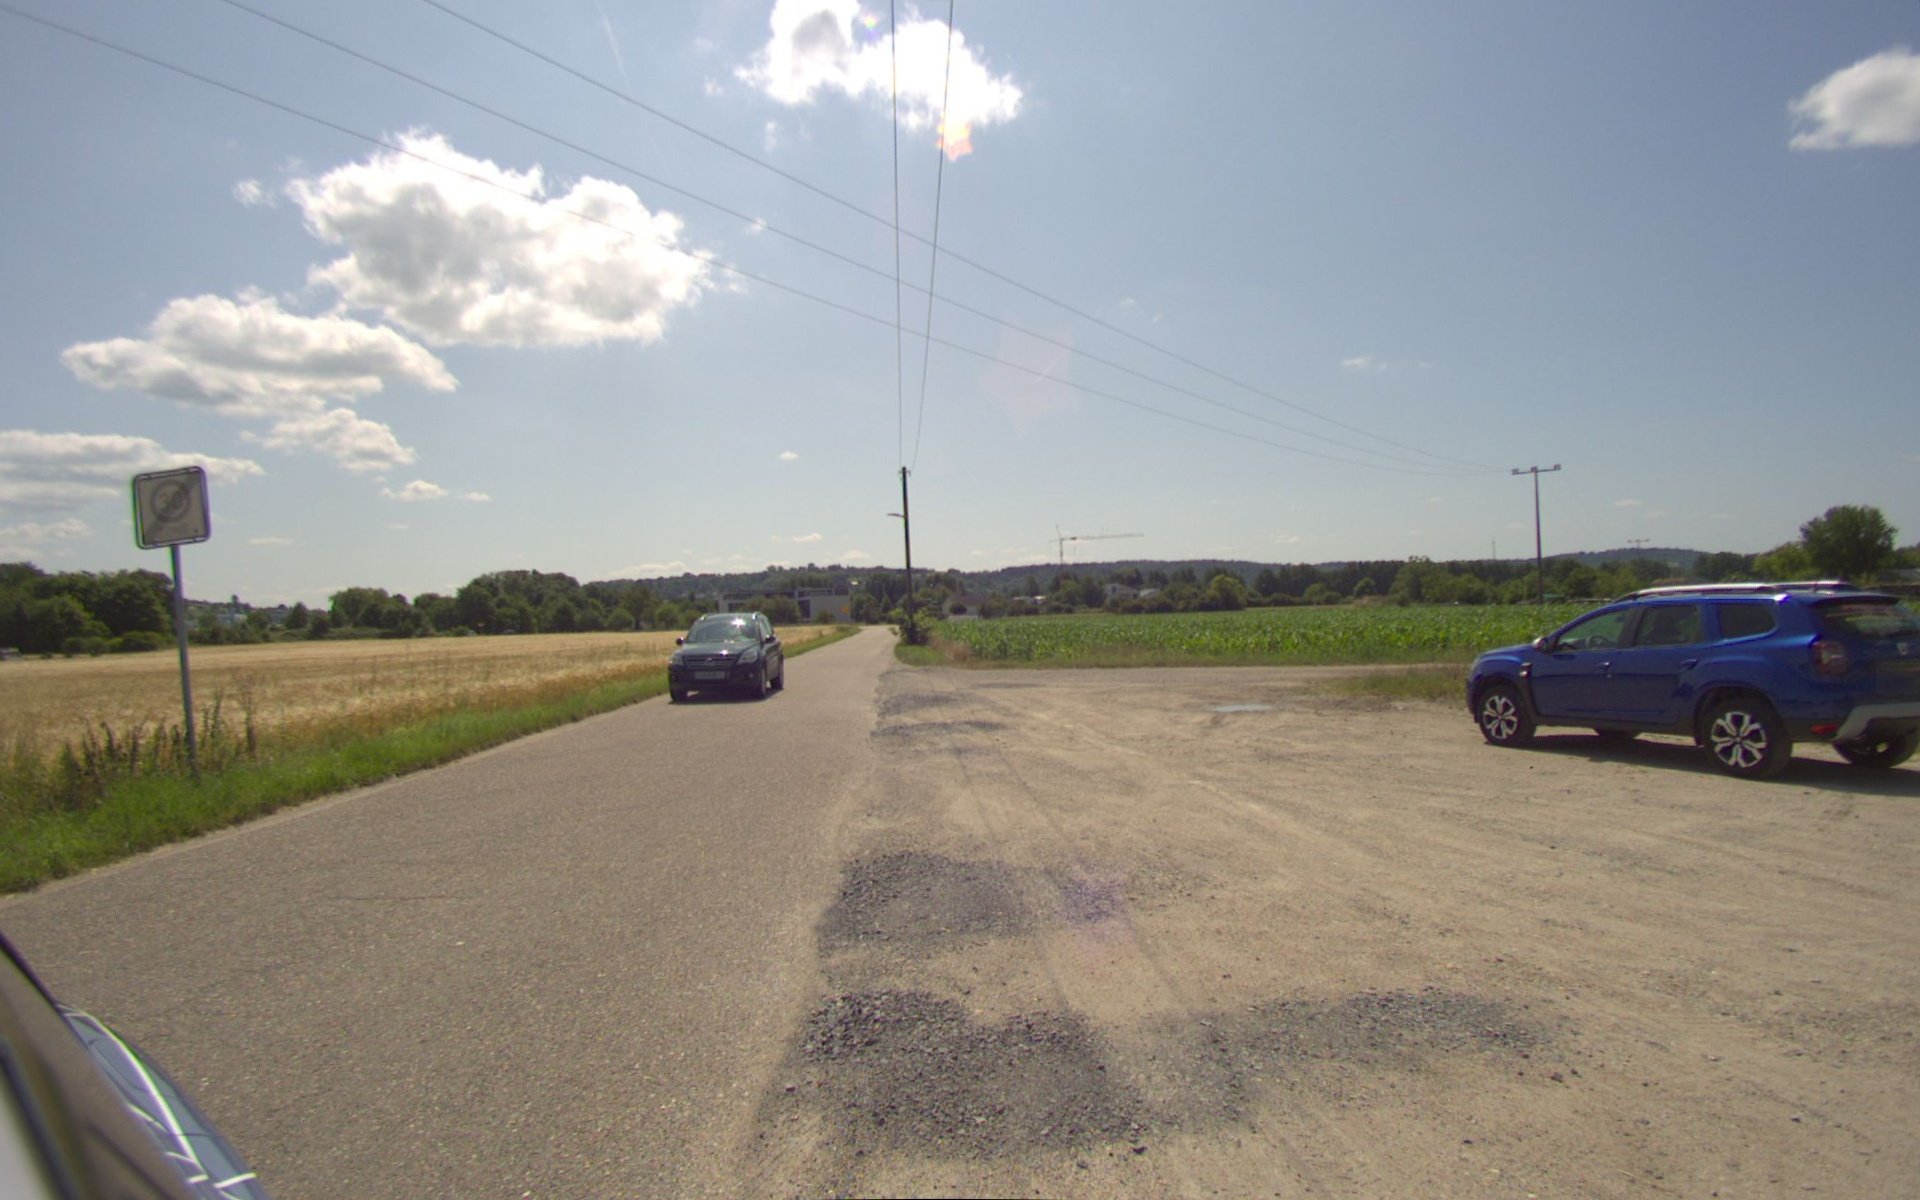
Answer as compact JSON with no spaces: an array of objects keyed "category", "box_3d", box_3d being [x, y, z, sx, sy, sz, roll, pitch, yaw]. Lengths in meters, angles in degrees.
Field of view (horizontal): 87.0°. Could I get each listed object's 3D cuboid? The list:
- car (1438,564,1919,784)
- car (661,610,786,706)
[{"category":"car","box_3d":[7.204,0.646,10.149,1.833,1.673,4.470,-1,-2,-15]},{"category":"car","box_3d":[-4.660,1.105,20.495,1.724,1.692,4.257,-1,-1,-3]}]
